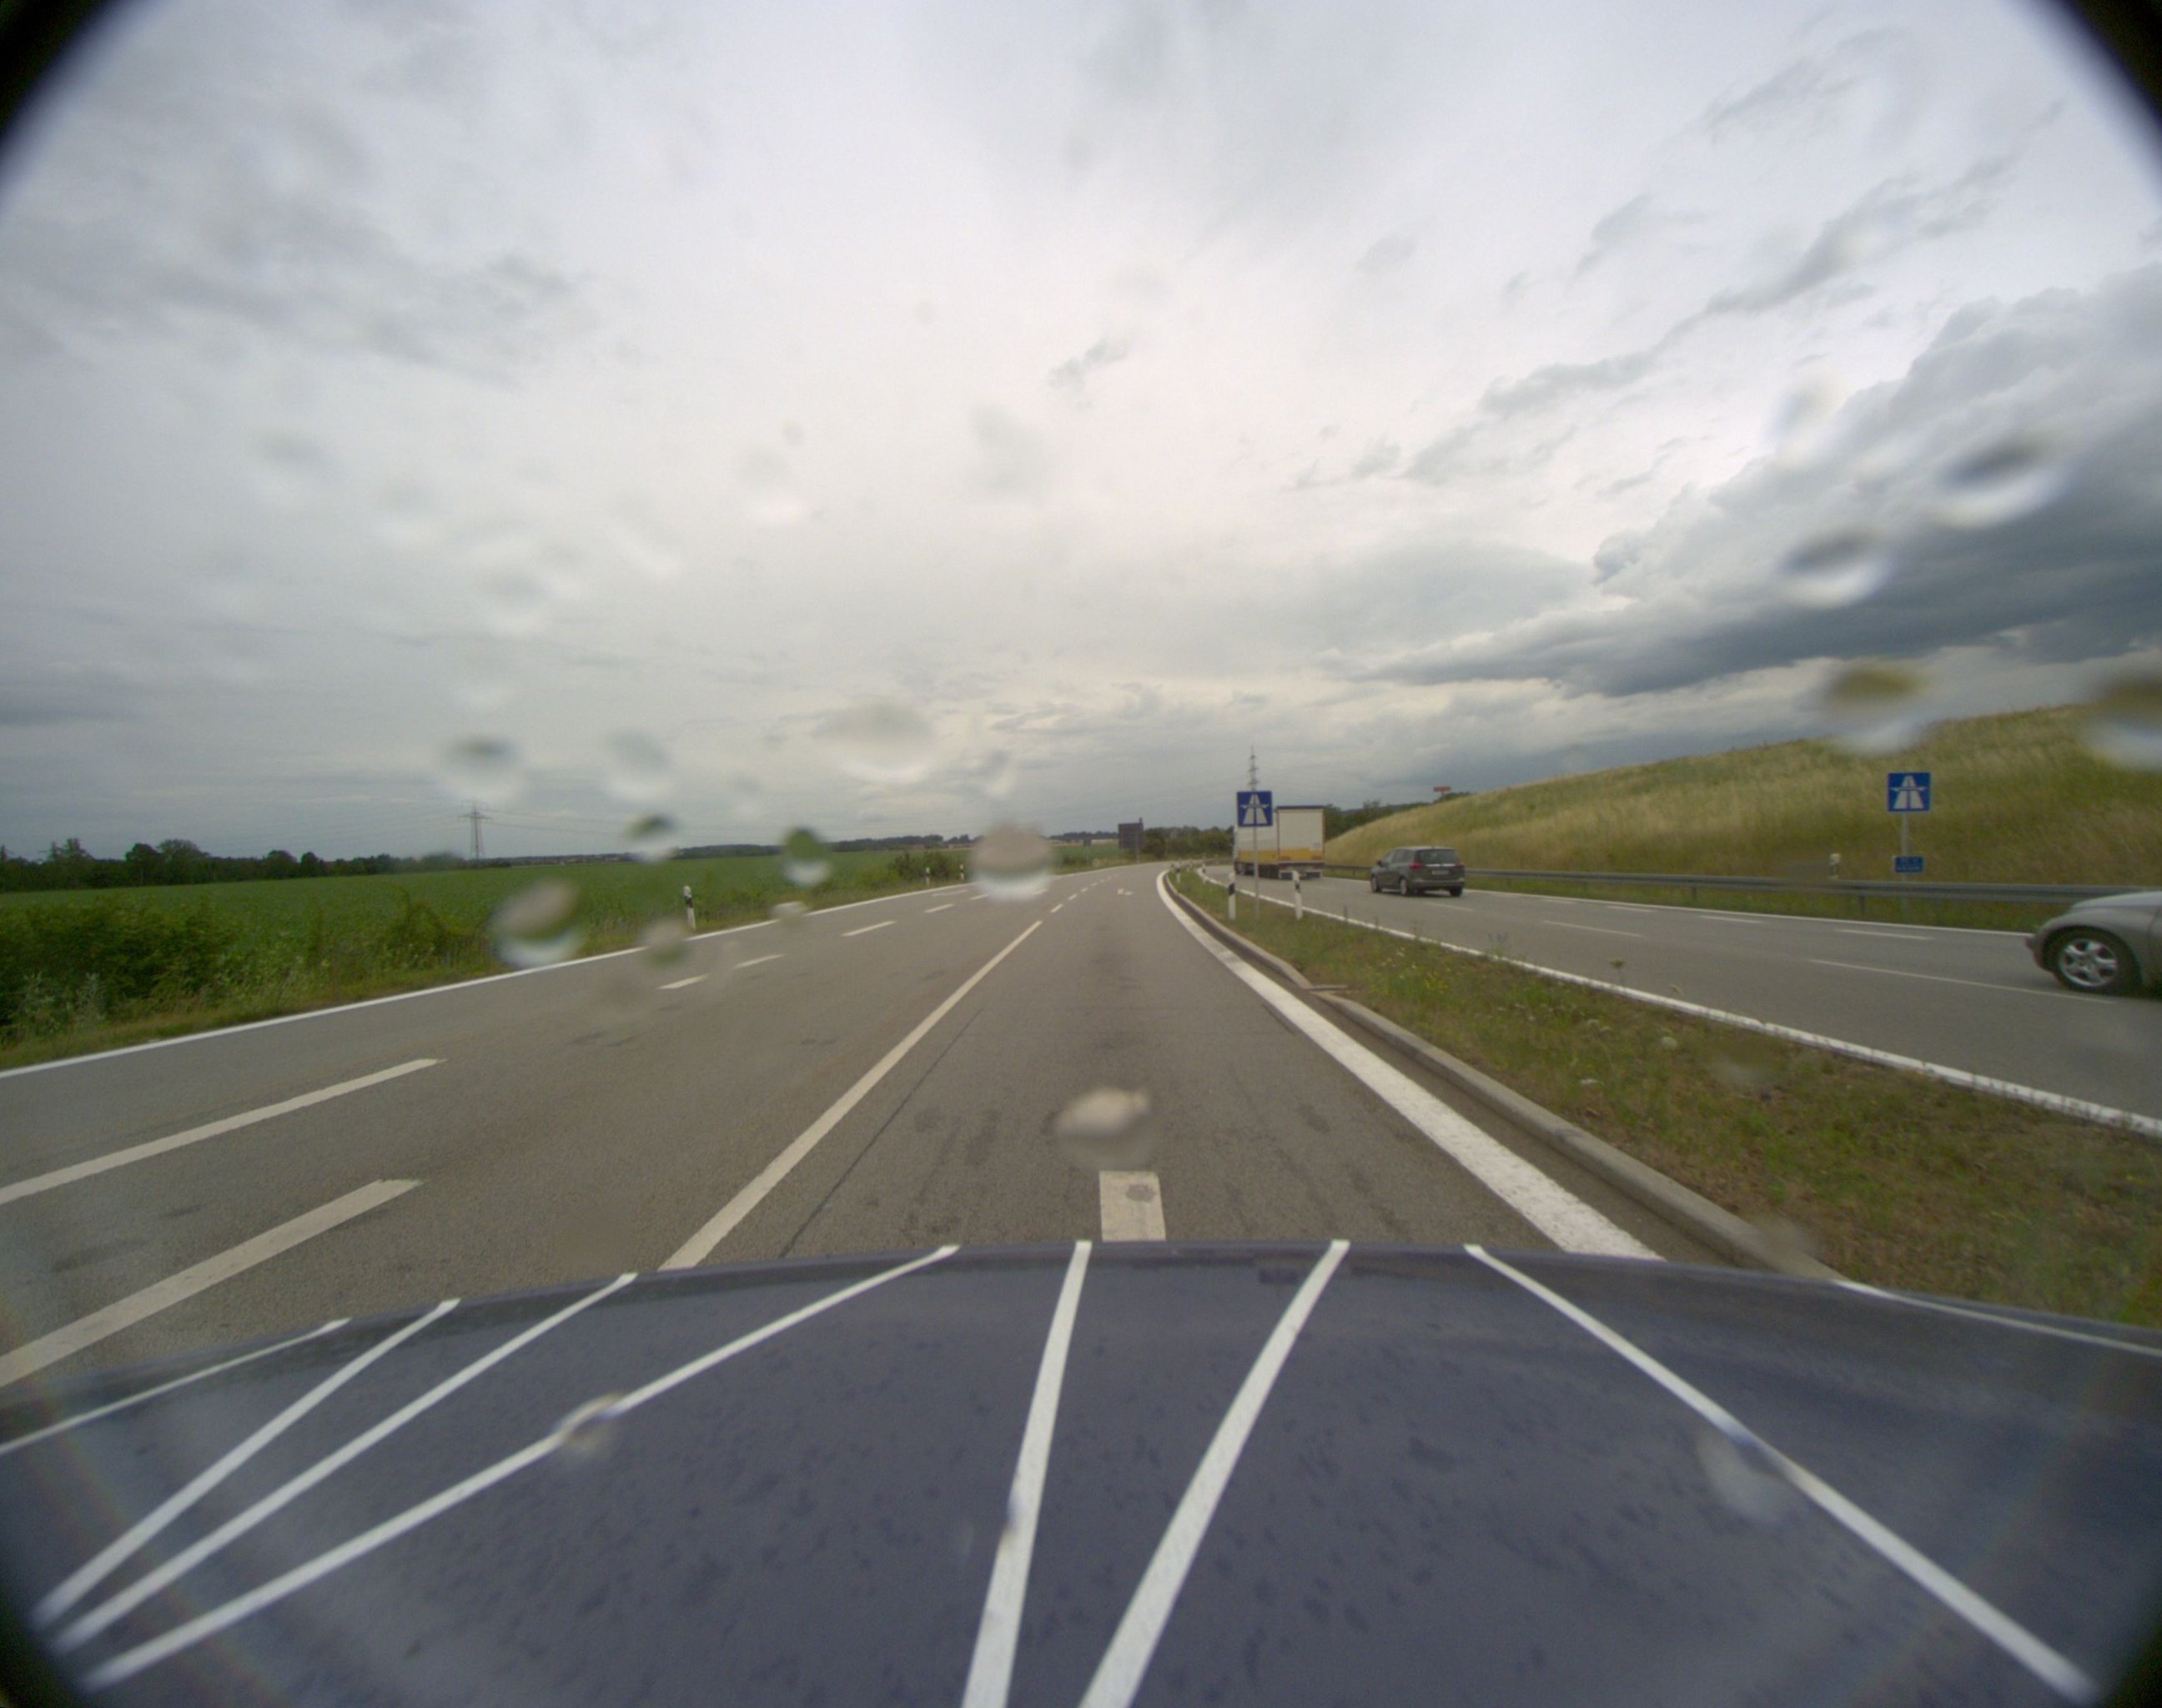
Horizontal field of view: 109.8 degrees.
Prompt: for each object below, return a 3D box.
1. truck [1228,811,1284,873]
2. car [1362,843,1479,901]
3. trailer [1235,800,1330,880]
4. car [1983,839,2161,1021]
[{"bbox_3d":[12.540,-0.860,54.948,2.656,4.117,6.403,-2,1,2],"label":"truck"},{"bbox_3d":[11.306,0.525,25.688,1.998,1.684,4.454,-2,1,1],"label":"car"},{"bbox_3d":[12.296,-0.874,48.051,2.698,4.186,13.840,-2,1,2],"label":"trailer"},{"bbox_3d":[10.196,0.631,5.694,1.815,1.511,4.243,-3,0,1],"label":"car"}]
